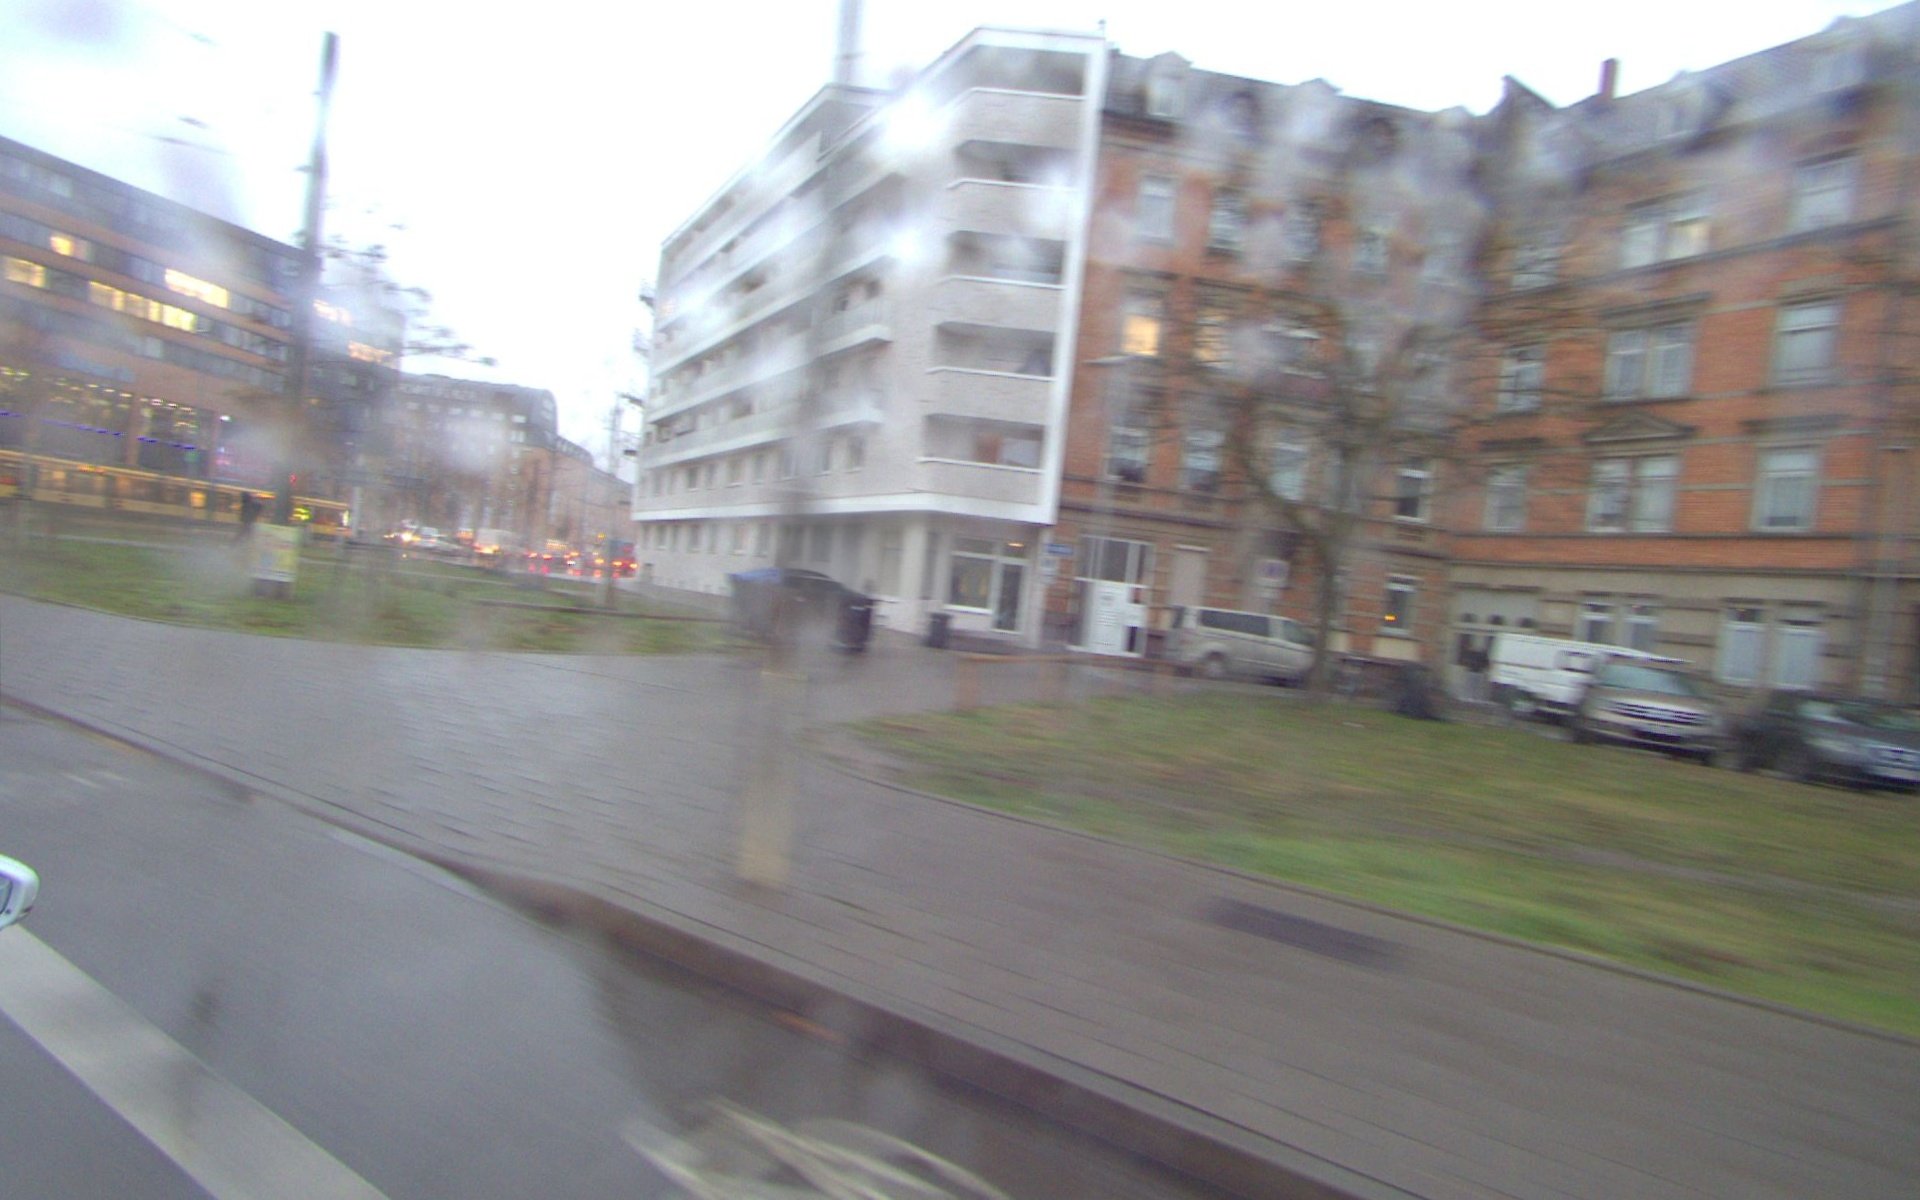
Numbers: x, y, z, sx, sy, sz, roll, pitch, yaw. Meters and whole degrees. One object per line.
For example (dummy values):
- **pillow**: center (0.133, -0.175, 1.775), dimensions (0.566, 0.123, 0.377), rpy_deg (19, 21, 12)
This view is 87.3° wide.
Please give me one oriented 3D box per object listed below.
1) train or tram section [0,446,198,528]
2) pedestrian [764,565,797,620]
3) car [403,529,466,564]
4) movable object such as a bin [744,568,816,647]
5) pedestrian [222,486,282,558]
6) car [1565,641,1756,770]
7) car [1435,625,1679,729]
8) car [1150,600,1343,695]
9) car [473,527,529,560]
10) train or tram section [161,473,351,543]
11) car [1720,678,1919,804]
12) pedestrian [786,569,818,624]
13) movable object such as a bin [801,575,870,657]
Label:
- **train or tram section**: center (-51.335, -6.546, 56.288), dimensions (2.292, 3.301, 16.664), rpy_deg (7, 0, 9)
- **pedestrian**: center (-5.984, -0.244, 33.466), dimensions (0.672, 1.734, 0.600), rpy_deg (8, -1, -36)
- **car**: center (-41.226, -4.173, 79.020), dimensions (1.962, 2.037, 4.004), rpy_deg (7, -2, 14)
- **movable object such as a bin**: center (-3.637, 0.132, 20.277), dimensions (1.005, 1.434, 1.215), rpy_deg (5, 2, -28)
- **pedestrian**: center (-21.126, -2.319, 30.027), dimensions (1.167, 1.946, 0.888), rpy_deg (9, -1, -43)
- **car**: center (11.394, 1.605, 16.671), dimensions (1.910, 1.657, 3.993), rpy_deg (6, 1, 27)
- **car**: center (15.370, 1.931, 26.178), dimensions (1.981, 2.040, 4.938), rpy_deg (5, 1, -36)
- **car**: center (8.025, 1.333, 28.434), dimensions (4.665, 1.941, 2.000), rpy_deg (8, -1, -5)
- **car**: center (-39.654, -4.839, 86.982), dimensions (1.962, 2.036, 4.955), rpy_deg (8, -2, 6)
- **train or tram section**: center (-48.892, -6.249, 70.690), dimensions (2.292, 3.301, 13.003), rpy_deg (7, 0, 9)
- **car**: center (12.563, 1.950, 14.342), dimensions (1.646, 1.371, 3.744), rpy_deg (8, 0, 22)
- **pedestrian**: center (-5.334, -0.130, 33.947), dimensions (0.672, 1.734, 0.623), rpy_deg (8, -1, -36)
- **movable object such as a bin**: center (-2.540, 0.316, 20.472), dimensions (1.023, 1.507, 1.036), rpy_deg (8, -1, -20)
